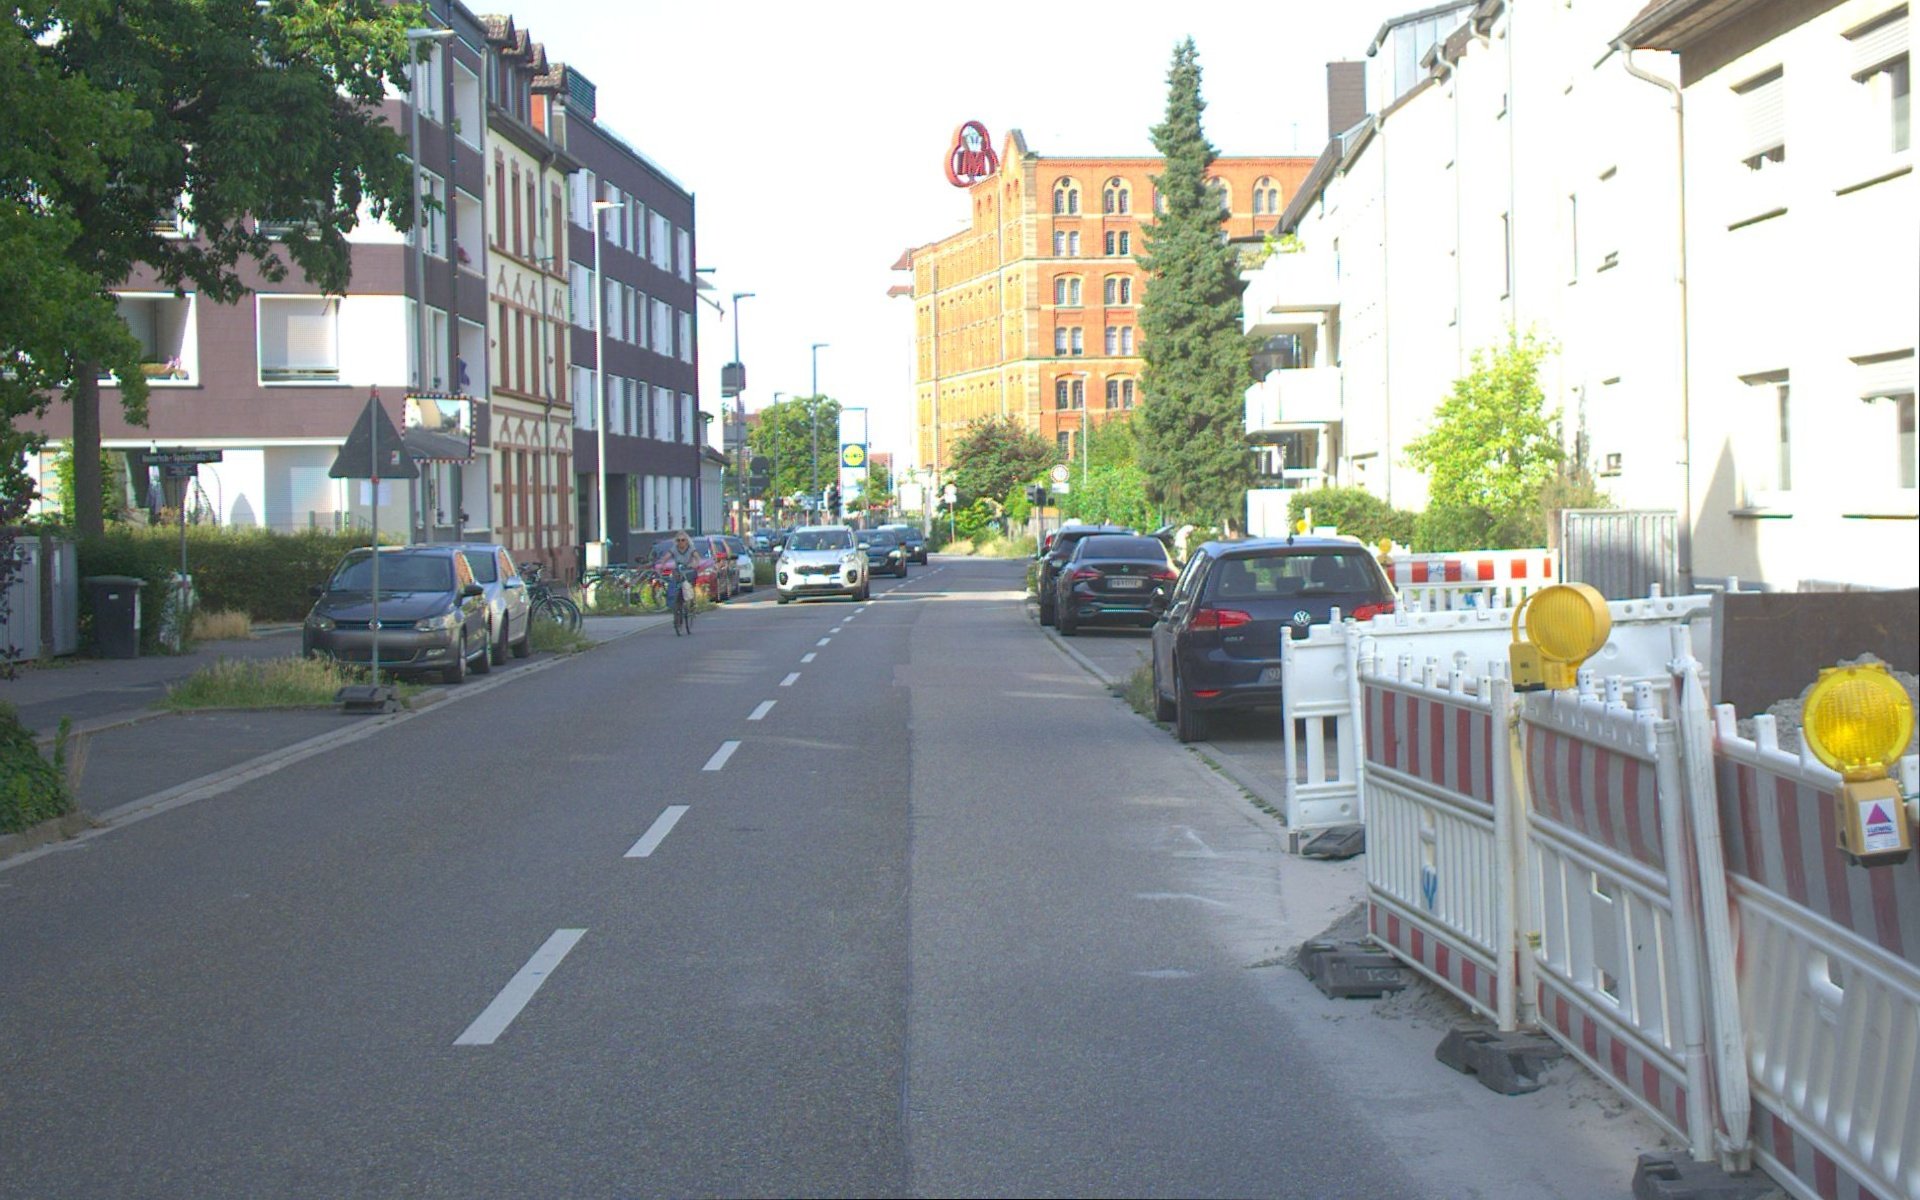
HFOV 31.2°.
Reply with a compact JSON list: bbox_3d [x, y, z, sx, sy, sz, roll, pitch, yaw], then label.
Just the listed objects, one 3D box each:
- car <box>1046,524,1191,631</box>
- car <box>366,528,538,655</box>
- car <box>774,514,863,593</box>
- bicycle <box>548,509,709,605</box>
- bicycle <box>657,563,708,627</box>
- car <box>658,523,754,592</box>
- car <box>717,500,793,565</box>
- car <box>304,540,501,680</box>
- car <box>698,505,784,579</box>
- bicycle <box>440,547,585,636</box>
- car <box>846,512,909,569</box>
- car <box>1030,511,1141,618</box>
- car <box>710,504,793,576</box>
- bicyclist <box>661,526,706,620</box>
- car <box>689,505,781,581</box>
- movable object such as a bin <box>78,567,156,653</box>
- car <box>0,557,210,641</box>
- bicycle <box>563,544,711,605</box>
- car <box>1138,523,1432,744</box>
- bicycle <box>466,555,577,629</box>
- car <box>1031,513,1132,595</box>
[{"bbox_3d":[2.286,-0.365,50.415,1.859,1.467,4.000,-1,1,-1],"label":"car"},{"bbox_3d":[-6.328,-0.143,43.167,1.676,1.496,4.001,-1,1,-2],"label":"car"},{"bbox_3d":[-3.017,-1.025,74.059,1.763,1.610,4.000,-2,1,-1],"label":"car"},{"bbox_3d":[-6.337,-0.834,65.860,2.918,1.771,1.202,-1,1,1],"label":"bicycle"},{"bbox_3d":[-4.286,-0.082,53.264,0.608,0.939,1.811,-1,1,1],"label":"bicycle"},{"bbox_3d":[-5.573,-0.961,75.681,1.840,1.459,3.585,-1,1,0],"label":"car"},{"bbox_3d":[-6.063,-2.006,101.924,1.993,1.875,4.000,-1,1,0],"label":"car"},{"bbox_3d":[-5.998,0.068,37.329,1.573,1.415,3.804,0,1,-1],"label":"car"},{"bbox_3d":[-5.810,-1.557,91.460,1.993,1.905,3.689,-1,1,0],"label":"car"},{"bbox_3d":[-6.367,-0.126,48.980,2.000,1.213,0.708,-1,1,-6],"label":"bicycle"},{"bbox_3d":[-2.432,-1.778,102.110,1.763,1.610,4.000,-2,1,-1],"label":"car"},{"bbox_3d":[2.001,-0.600,55.645,1.601,1.640,3.685,-1,1,-1],"label":"car"},{"bbox_3d":[-5.757,-1.674,95.537,1.993,1.901,4.000,-1,1,0],"label":"car"},{"bbox_3d":[-4.287,-0.419,53.349,0.591,1.437,0.750,-1,1,1],"label":"bicyclist"},{"bbox_3d":[-5.623,-1.453,86.343,1.993,1.829,3.689,-1,1,0],"label":"car"},{"bbox_3d":[-10.632,0.126,43.358,0.752,1.036,0.816,2,1,0],"label":"movable object such as a bin"},{"bbox_3d":[-14.466,-0.037,57.335,3.447,1.284,1.664,-2,2,-32],"label":"car"},{"bbox_3d":[-6.341,-0.505,67.639,2.773,1.140,1.143,-1,1,1],"label":"bicycle"},{"bbox_3d":[2.369,0.191,25.968,1.830,1.477,3.943,-1,1,0],"label":"car"},{"bbox_3d":[-6.445,-0.123,50.625,1.584,1.037,0.708,-1,1,-5],"label":"bicycle"},{"bbox_3d":[2.363,-0.926,67.804,1.763,1.521,4.000,-2,1,-1],"label":"car"}]
